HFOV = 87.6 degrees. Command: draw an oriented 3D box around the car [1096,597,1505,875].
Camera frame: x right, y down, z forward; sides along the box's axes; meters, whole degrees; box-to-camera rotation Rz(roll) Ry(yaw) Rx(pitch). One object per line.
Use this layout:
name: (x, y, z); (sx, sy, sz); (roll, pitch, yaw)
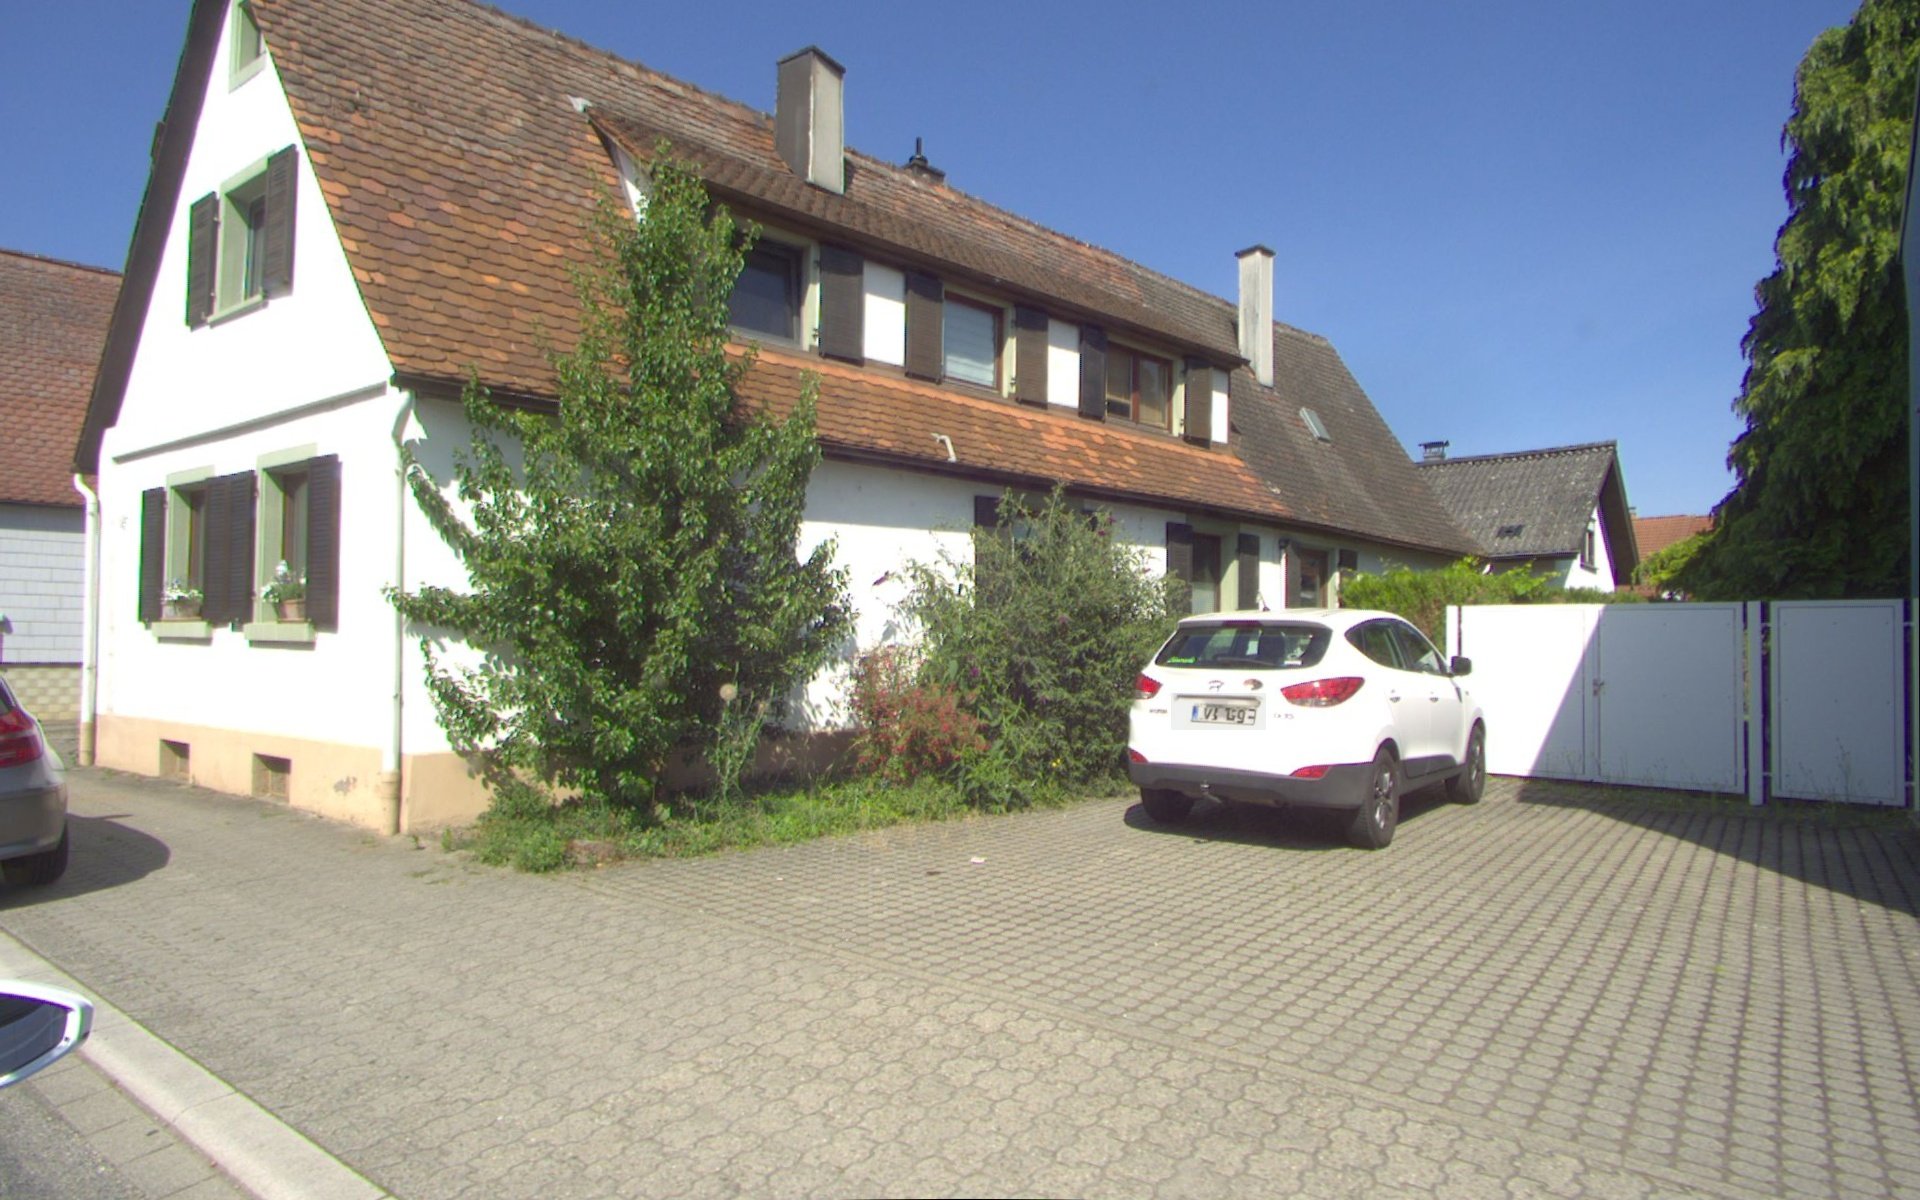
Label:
car: (3.003, 0.926, 8.256); (1.791, 1.678, 4.157); (-2, -3, 41)

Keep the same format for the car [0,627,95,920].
car: (-6.620, 0.892, 5.656); (3.836, 1.451, 1.700); (-1, -1, 34)
